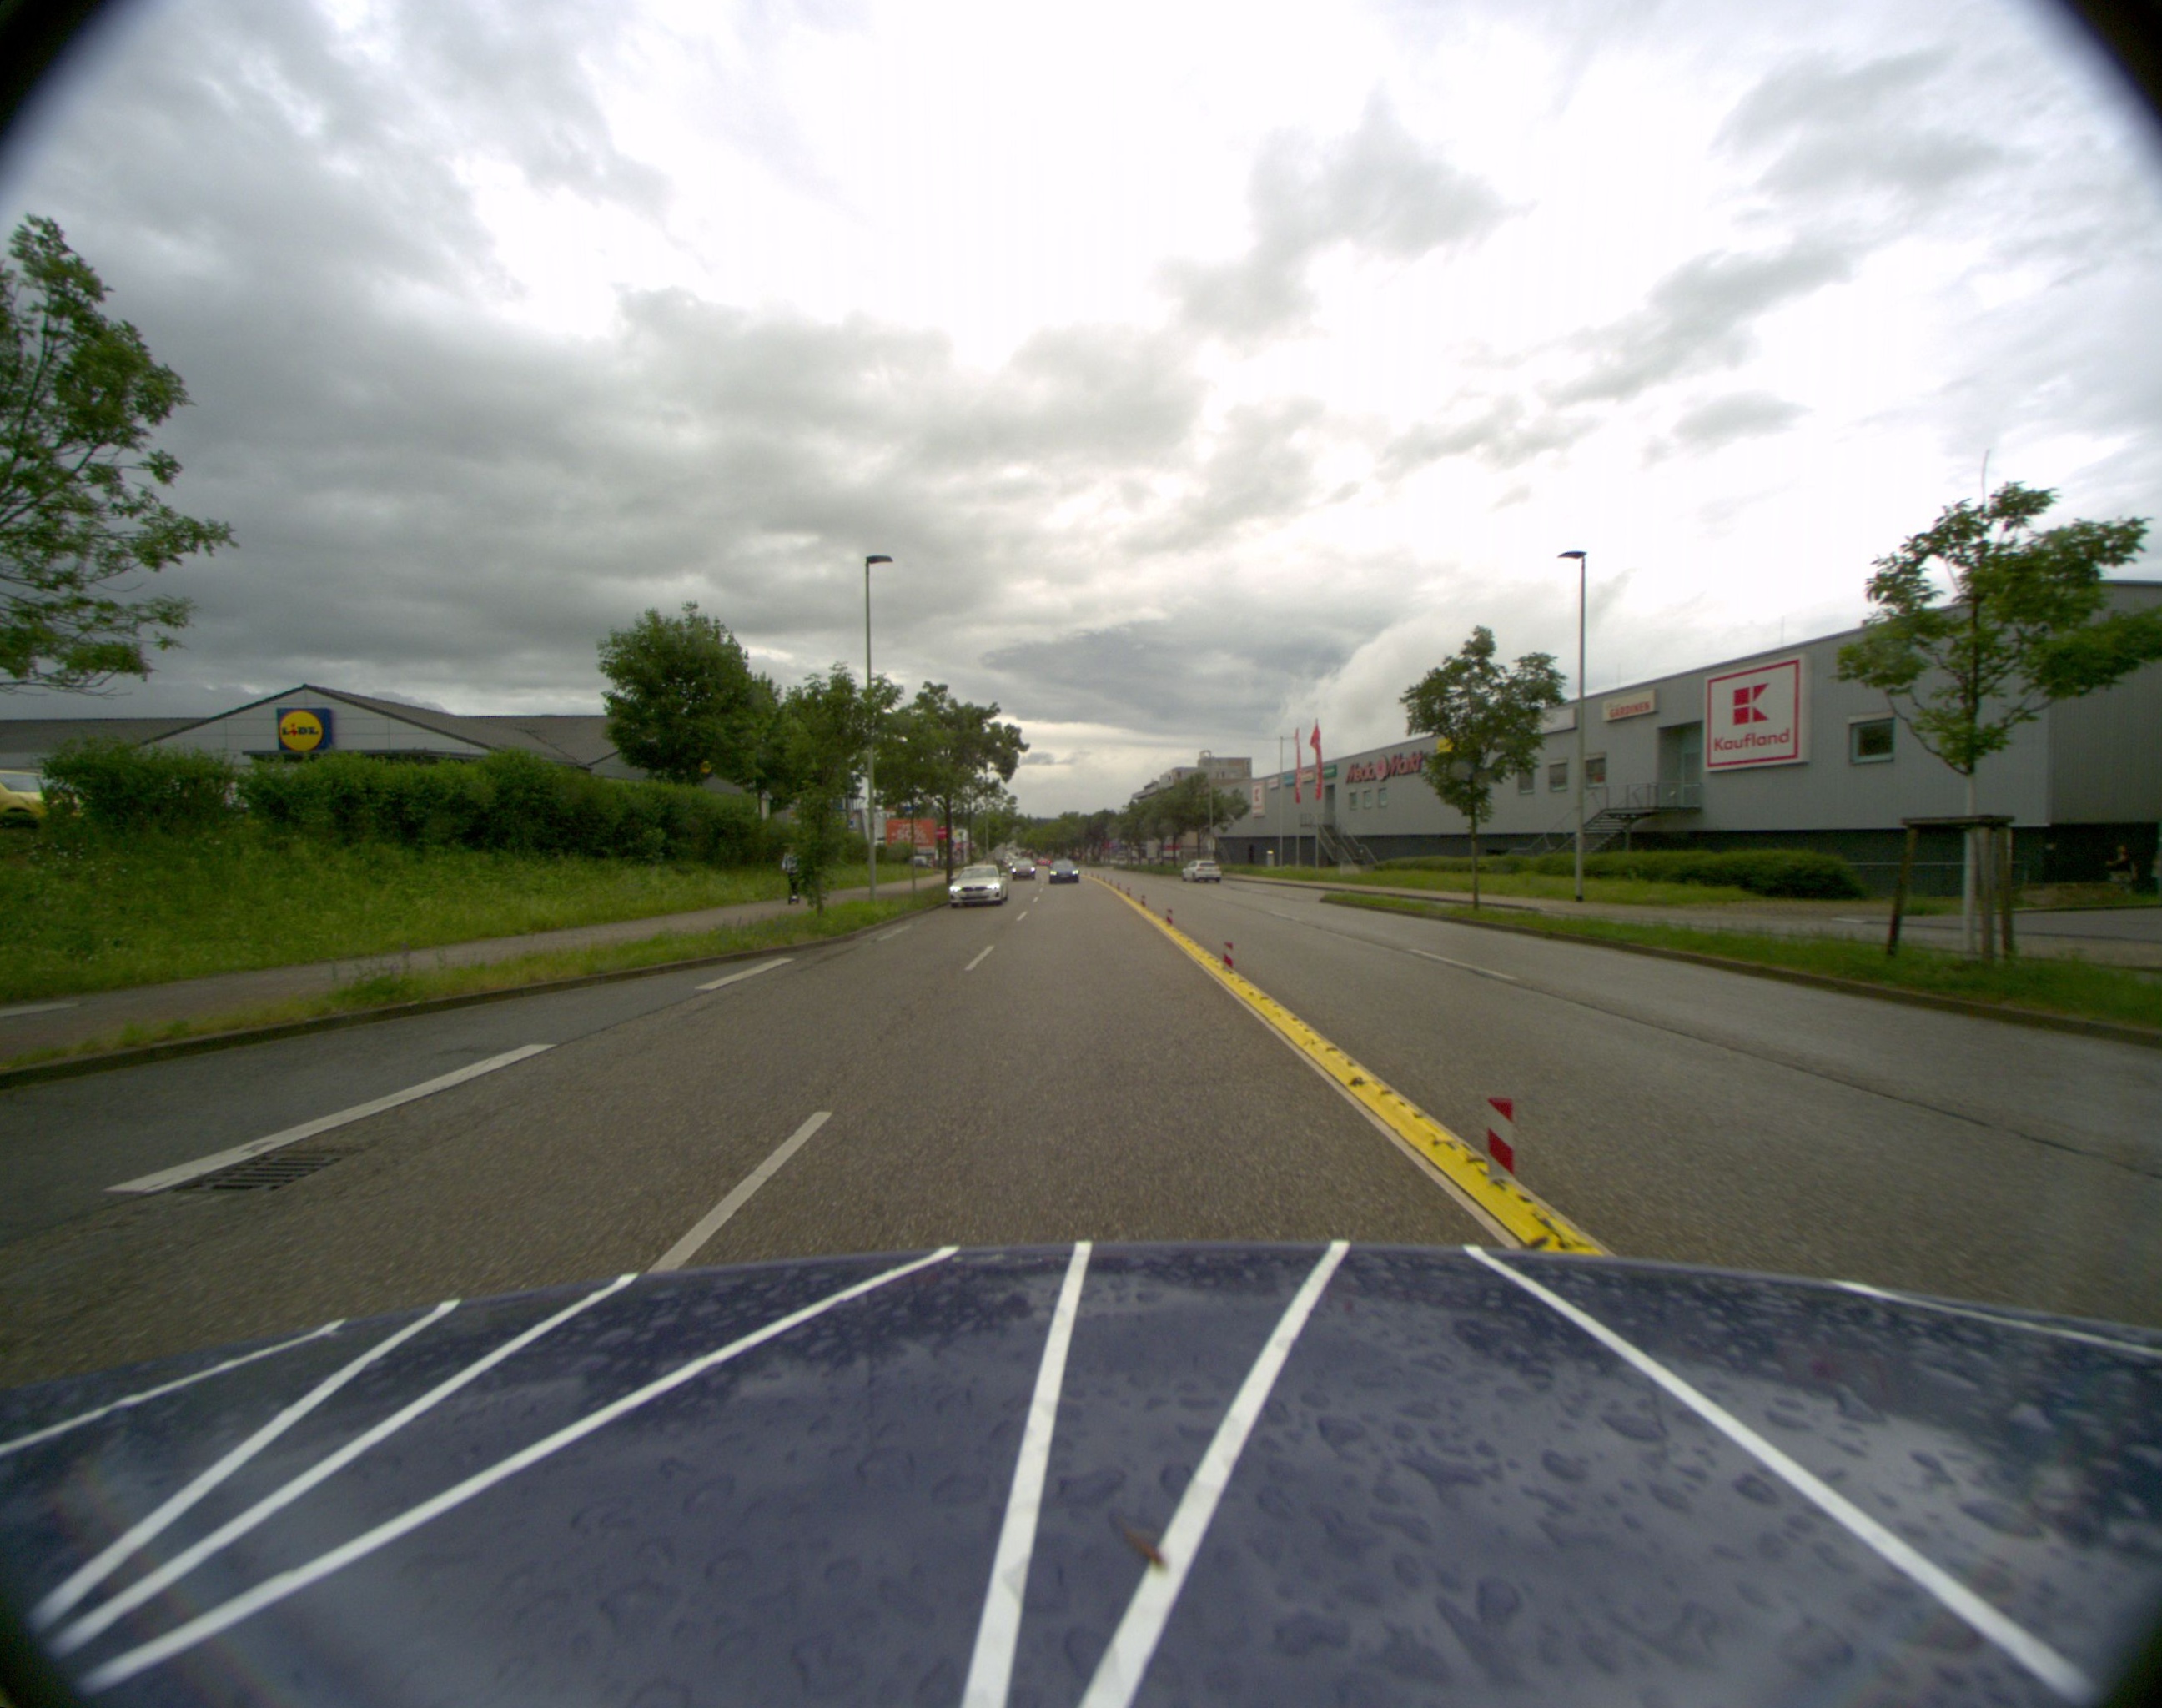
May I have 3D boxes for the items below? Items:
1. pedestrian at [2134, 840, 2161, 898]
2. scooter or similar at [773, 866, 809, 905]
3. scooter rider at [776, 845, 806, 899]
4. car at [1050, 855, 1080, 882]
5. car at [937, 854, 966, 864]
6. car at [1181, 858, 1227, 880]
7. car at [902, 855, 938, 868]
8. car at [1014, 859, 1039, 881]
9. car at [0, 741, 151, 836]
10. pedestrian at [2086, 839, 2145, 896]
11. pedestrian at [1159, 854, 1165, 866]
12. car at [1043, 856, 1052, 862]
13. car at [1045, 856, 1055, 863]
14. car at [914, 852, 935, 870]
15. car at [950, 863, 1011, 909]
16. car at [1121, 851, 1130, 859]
[{"bbox_3d":[29.408,0.401,20.612,0.450,1.566,0.861,-3,1,-10],"label":"pedestrian"},{"bbox_3d":[-9.907,1.059,26.018,0.696,1.256,1.400,1,1,0],"label":"scooter or similar"},{"bbox_3d":[-9.898,0.598,25.974,0.696,1.810,0.858,1,1,0],"label":"scooter rider"},{"bbox_3d":[-0.996,0.904,48.998,1.799,1.572,4.218,-3,0,-1],"label":"car"},{"bbox_3d":[-22.619,0.897,133.059,4.665,1.591,1.927,2,0,4],"label":"car"},{"bbox_3d":[8.169,1.007,50.826,1.905,1.400,4.422,0,0,-6],"label":"car"},{"bbox_3d":[-19.307,0.847,91.126,4.107,1.429,1.795,-1,-2,-18],"label":"car"},{"bbox_3d":[-4.281,1.263,60.443,1.799,1.572,4.217,-3,0,-3],"label":"car"},{"bbox_3d":[-21.646,-1.311,15.191,3.996,1.726,1.865,2,1,3],"label":"car"},{"bbox_3d":[29.293,0.365,21.521,0.450,1.566,0.861,-3,1,-9],"label":"pedestrian"},{"bbox_3d":[11.354,0.829,106.301,0.586,1.574,0.766,-3,1,-4],"label":"pedestrian"},{"bbox_3d":[-7.822,1.200,175.078,1.746,1.398,3.997,0,0,-7],"label":"car"},{"bbox_3d":[-6.813,1.181,168.290,1.789,1.398,4.613,0,0,-7],"label":"car"},{"bbox_3d":[-23.700,1.106,115.116,2.233,2.522,5.678,-3,0,-4],"label":"car"},{"bbox_3d":[-3.680,1.129,28.503,1.808,1.432,4.540,-3,0,-3],"label":"car"},{"bbox_3d":[11.444,0.242,195.371,1.999,2.002,4.884,-5,1,-1],"label":"car"}]
